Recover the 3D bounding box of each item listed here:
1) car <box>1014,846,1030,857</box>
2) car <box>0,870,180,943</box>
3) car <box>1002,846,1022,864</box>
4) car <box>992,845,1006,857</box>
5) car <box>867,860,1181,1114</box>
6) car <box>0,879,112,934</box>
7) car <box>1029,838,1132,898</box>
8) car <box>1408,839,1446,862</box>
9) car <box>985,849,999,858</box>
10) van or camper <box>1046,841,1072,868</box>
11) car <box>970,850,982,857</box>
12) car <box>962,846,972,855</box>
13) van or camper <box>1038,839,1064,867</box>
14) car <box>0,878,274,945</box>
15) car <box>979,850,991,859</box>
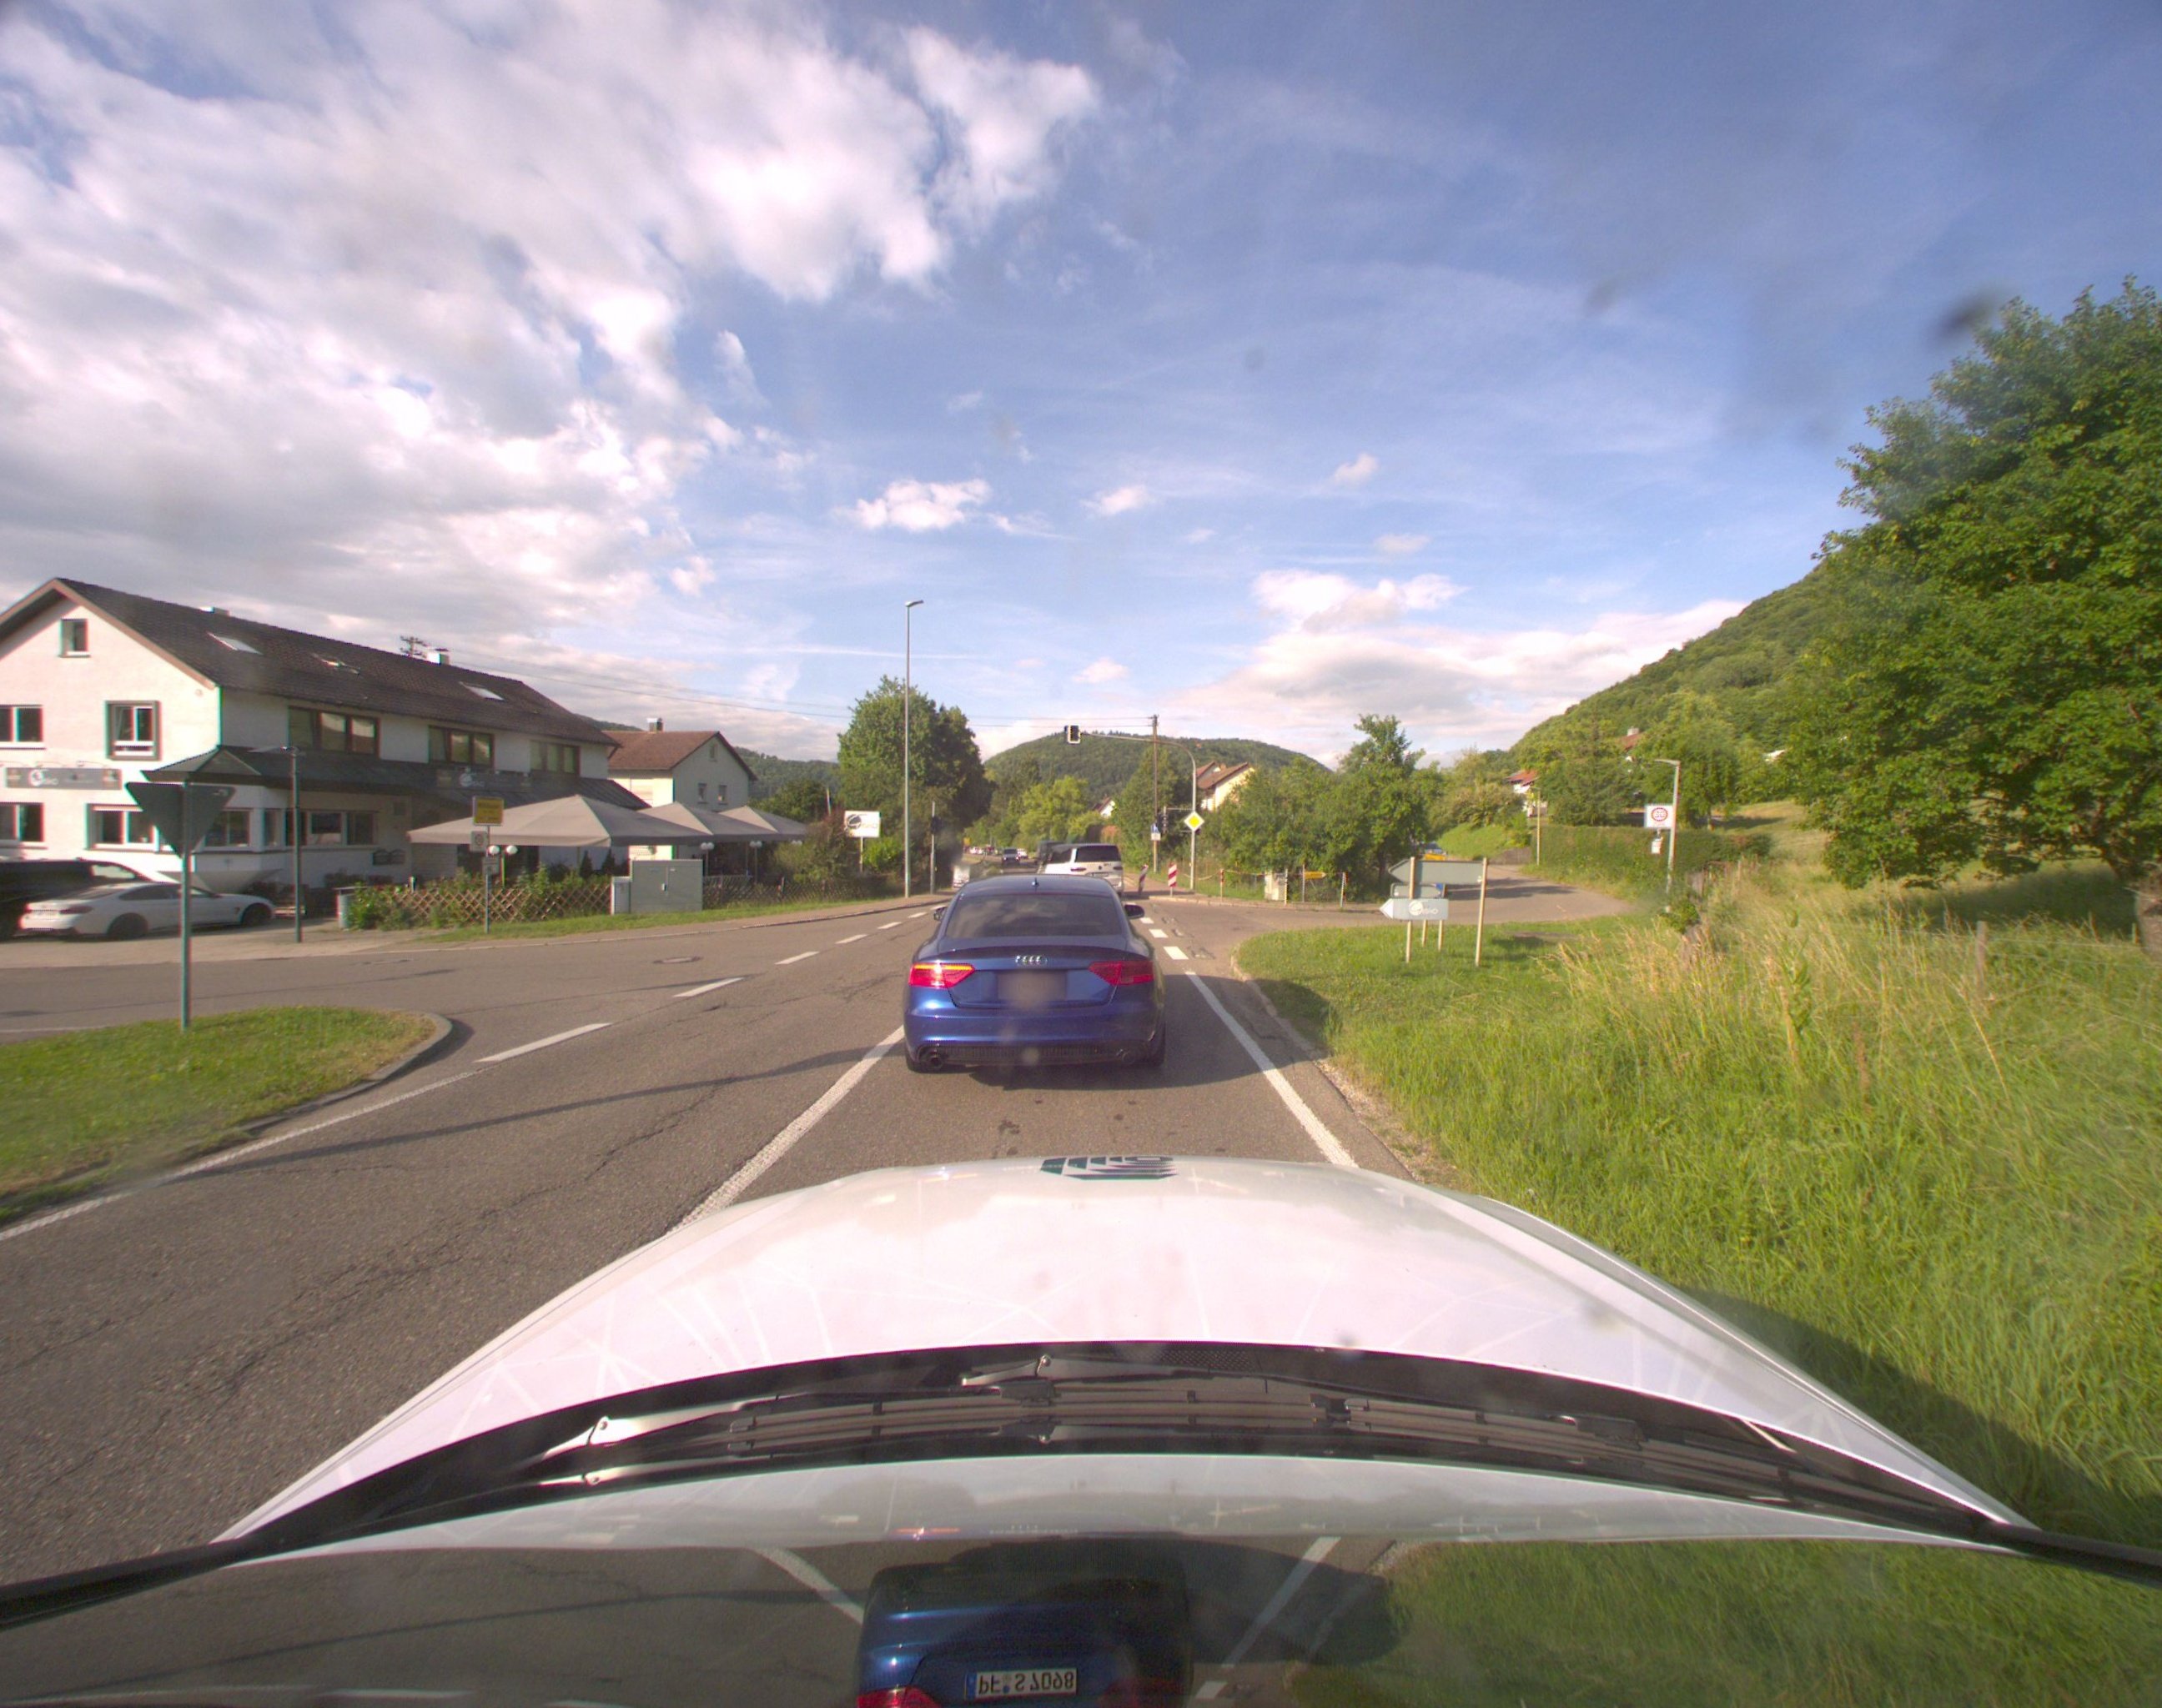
[{"bbox_3d":[-8.354,-0.375,114.777,1.819,1.552,3.987,-1,0,-9],"label":"car"},{"bbox_3d":[-27.341,1.360,21.419,1.984,1.685,4.582,-2,0,5],"label":"car"},{"bbox_3d":[-7.465,0.086,87.869,1.991,1.903,5.242,-2,1,-6],"label":"car"},{"bbox_3d":[-14.028,-0.473,139.678,1.995,2.013,3.983,-1,1,-12],"label":"car"},{"bbox_3d":[-0.324,0.801,6.951,1.824,1.409,4.226,-2,0,0],"label":"car"},{"bbox_3d":[-30.406,1.499,22.326,1.984,1.389,4.582,-2,0,5],"label":"car"},{"bbox_3d":[-0.137,0.413,28.380,2.000,1.876,4.838,1,1,-21],"label":"car"},{"bbox_3d":[24.311,-0.278,57.320,1.853,1.610,4.591,0,1,15],"label":"car"},{"bbox_3d":[-16.263,-0.099,148.712,2.043,1.684,3.982,-1,1,-13],"label":"car"},{"bbox_3d":[-2.135,0.026,76.472,2.176,2.385,5.362,-1,0,-4],"label":"van or camper"},{"bbox_3d":[-21.372,-0.036,166.013,1.944,1.424,3.982,-1,1,-13],"label":"car"},{"bbox_3d":[-24.933,-0.766,178.474,1.774,1.783,3.982,-1,0,-13],"label":"car"},{"bbox_3d":[-3.369,-0.120,90.375,2.413,2.904,6.116,-1,0,-7],"label":"van or camper"},{"bbox_3d":[-24.661,1.432,21.469,1.984,1.389,4.582,-2,0,5],"label":"car"},{"bbox_3d":[-18.568,0.057,157.134,1.944,1.684,3.982,-2,0,-13],"label":"car"}]
